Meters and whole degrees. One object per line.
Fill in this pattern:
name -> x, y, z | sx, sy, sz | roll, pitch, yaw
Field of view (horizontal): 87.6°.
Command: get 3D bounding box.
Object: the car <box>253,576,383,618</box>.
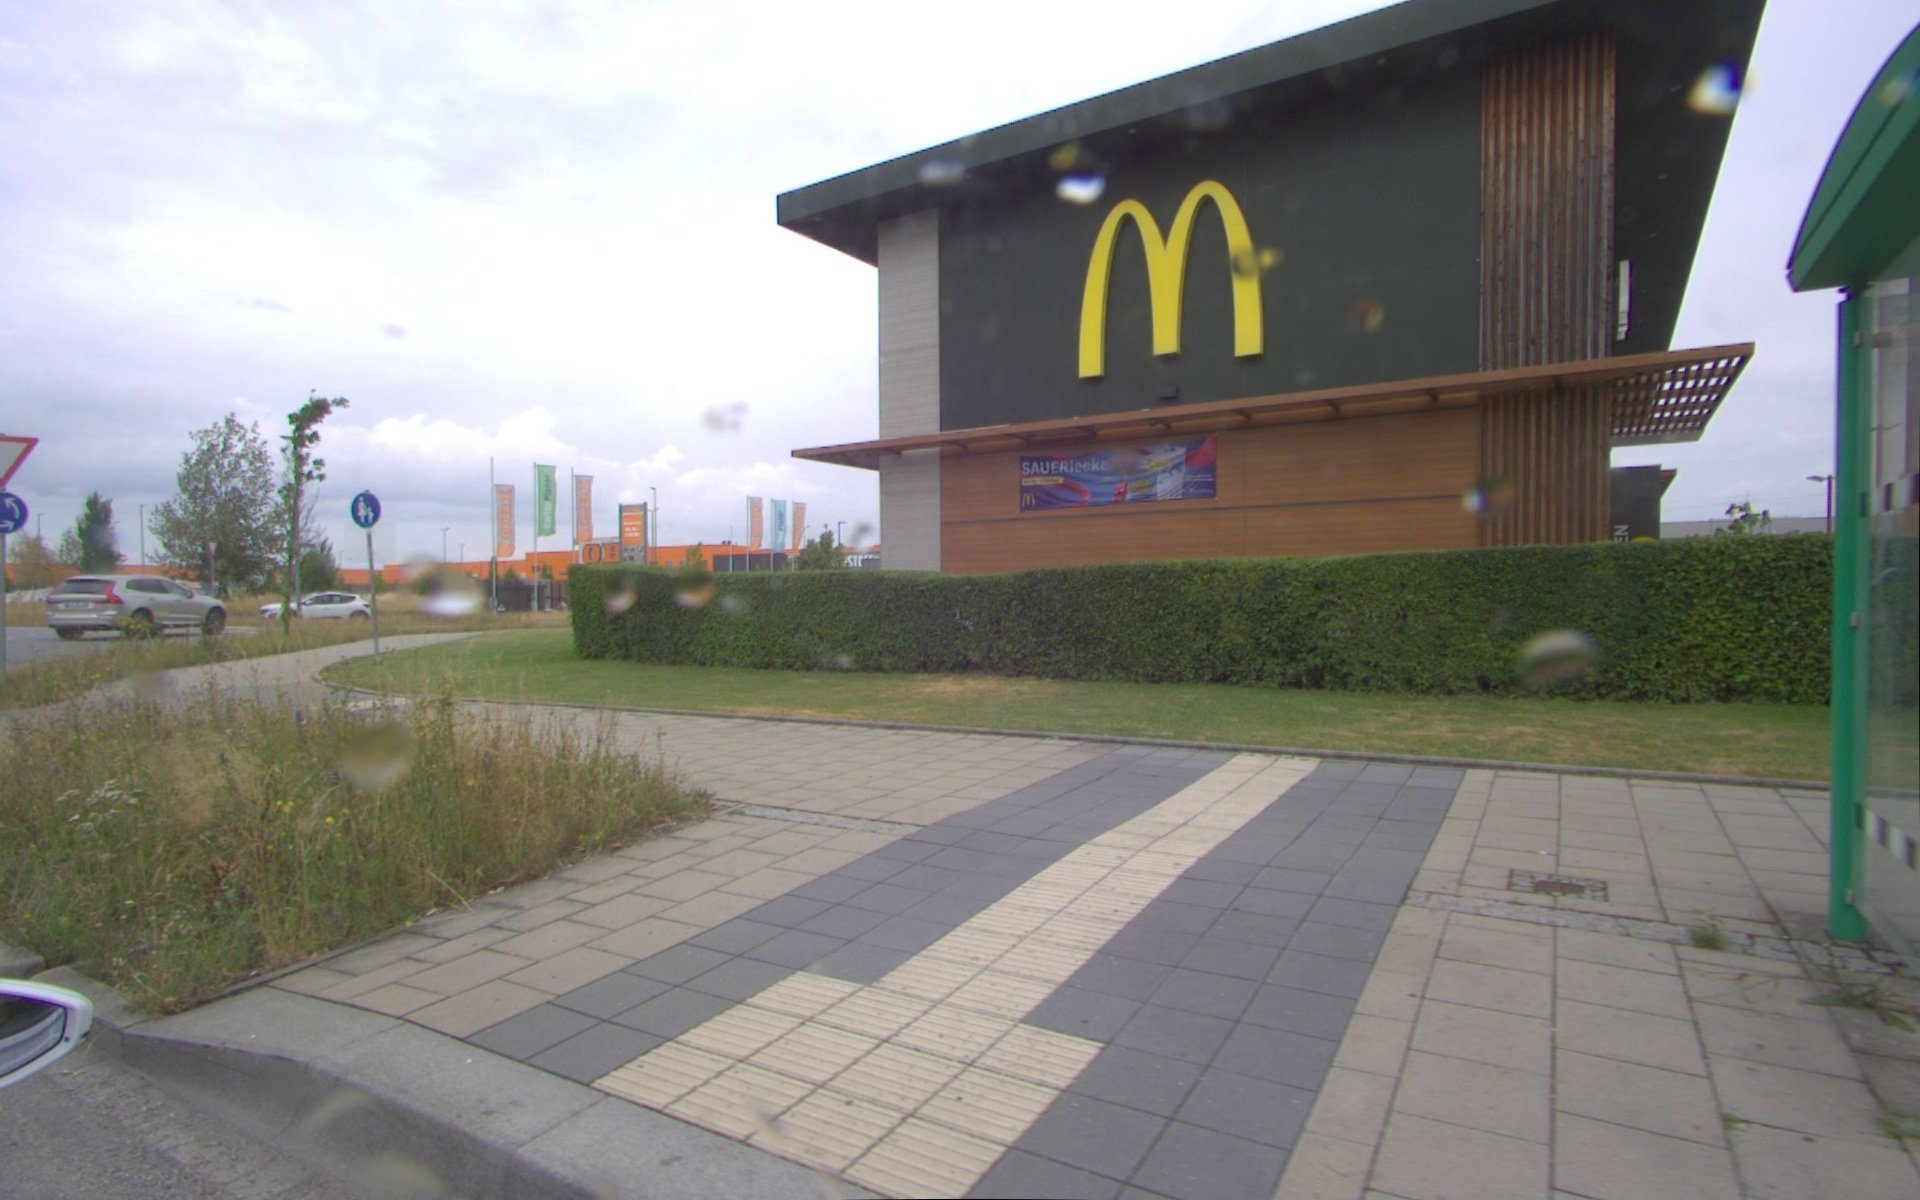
car -> -27.393, -0.156, 42.847 | 1.846, 1.671, 4.309 | 3, 3, 38

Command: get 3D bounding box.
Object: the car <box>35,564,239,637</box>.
car -> -22.000, -0.067, 27.092 | 1.907, 1.762, 4.770 | 1, 2, -6
